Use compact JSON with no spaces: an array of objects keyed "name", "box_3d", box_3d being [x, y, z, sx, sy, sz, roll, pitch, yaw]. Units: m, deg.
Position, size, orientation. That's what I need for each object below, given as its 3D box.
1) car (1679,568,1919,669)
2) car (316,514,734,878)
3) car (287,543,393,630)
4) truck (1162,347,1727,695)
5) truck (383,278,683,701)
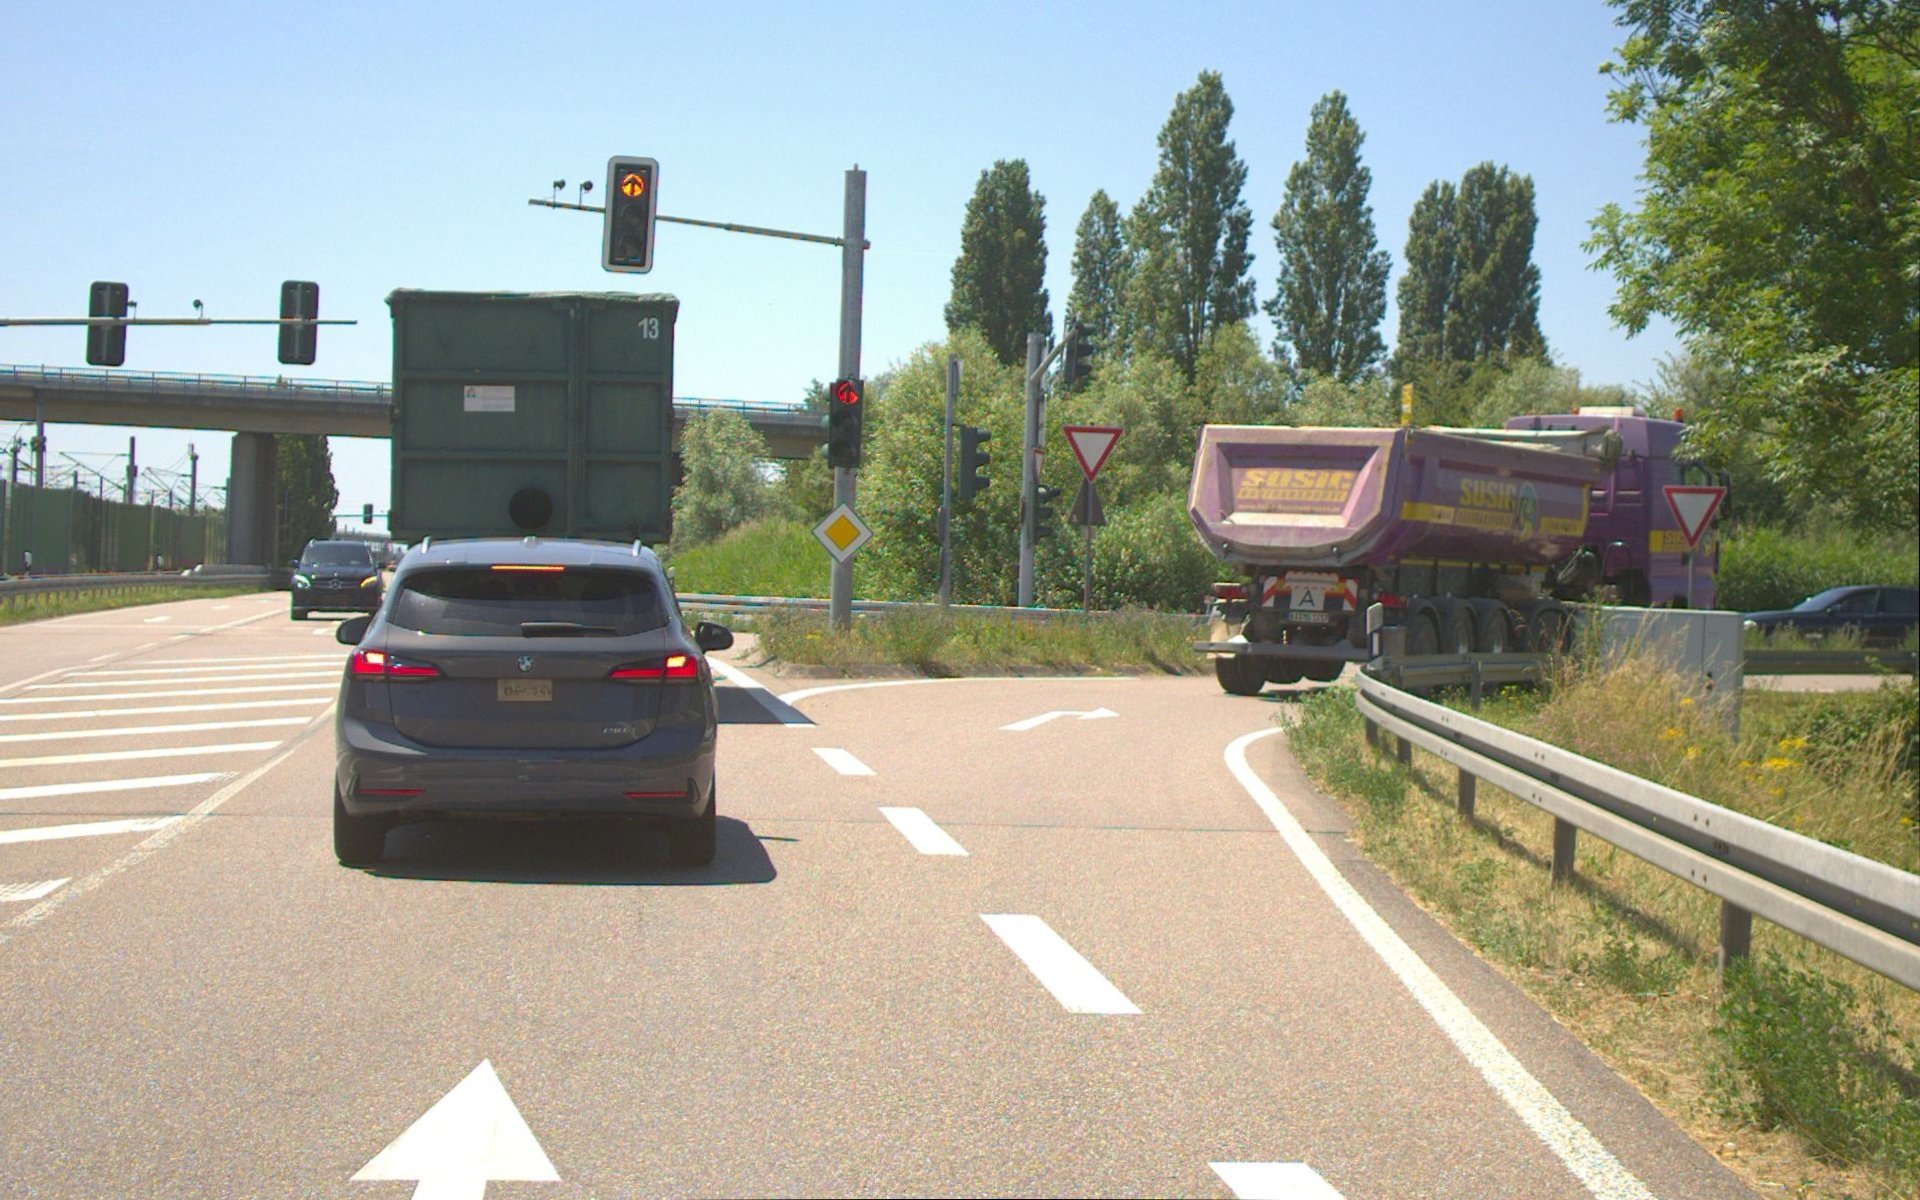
[{"name":"car","box_3d":[15.071,0.321,59.083,4.924,1.626,1.934,1,1,-5]},{"name":"car","box_3d":[-2.191,0.409,17.676,1.844,1.617,4.227,1,1,-6]},{"name":"car","box_3d":[-13.671,-0.322,76.027,1.927,1.761,4.599,2,1,-6]},{"name":"truck","box_3d":[6.486,-0.893,43.414,2.838,3.808,11.865,2,1,29]},{"name":"truck","box_3d":[-4.372,-1.086,35.572,2.589,3.725,9.577,1,1,-7]}]
